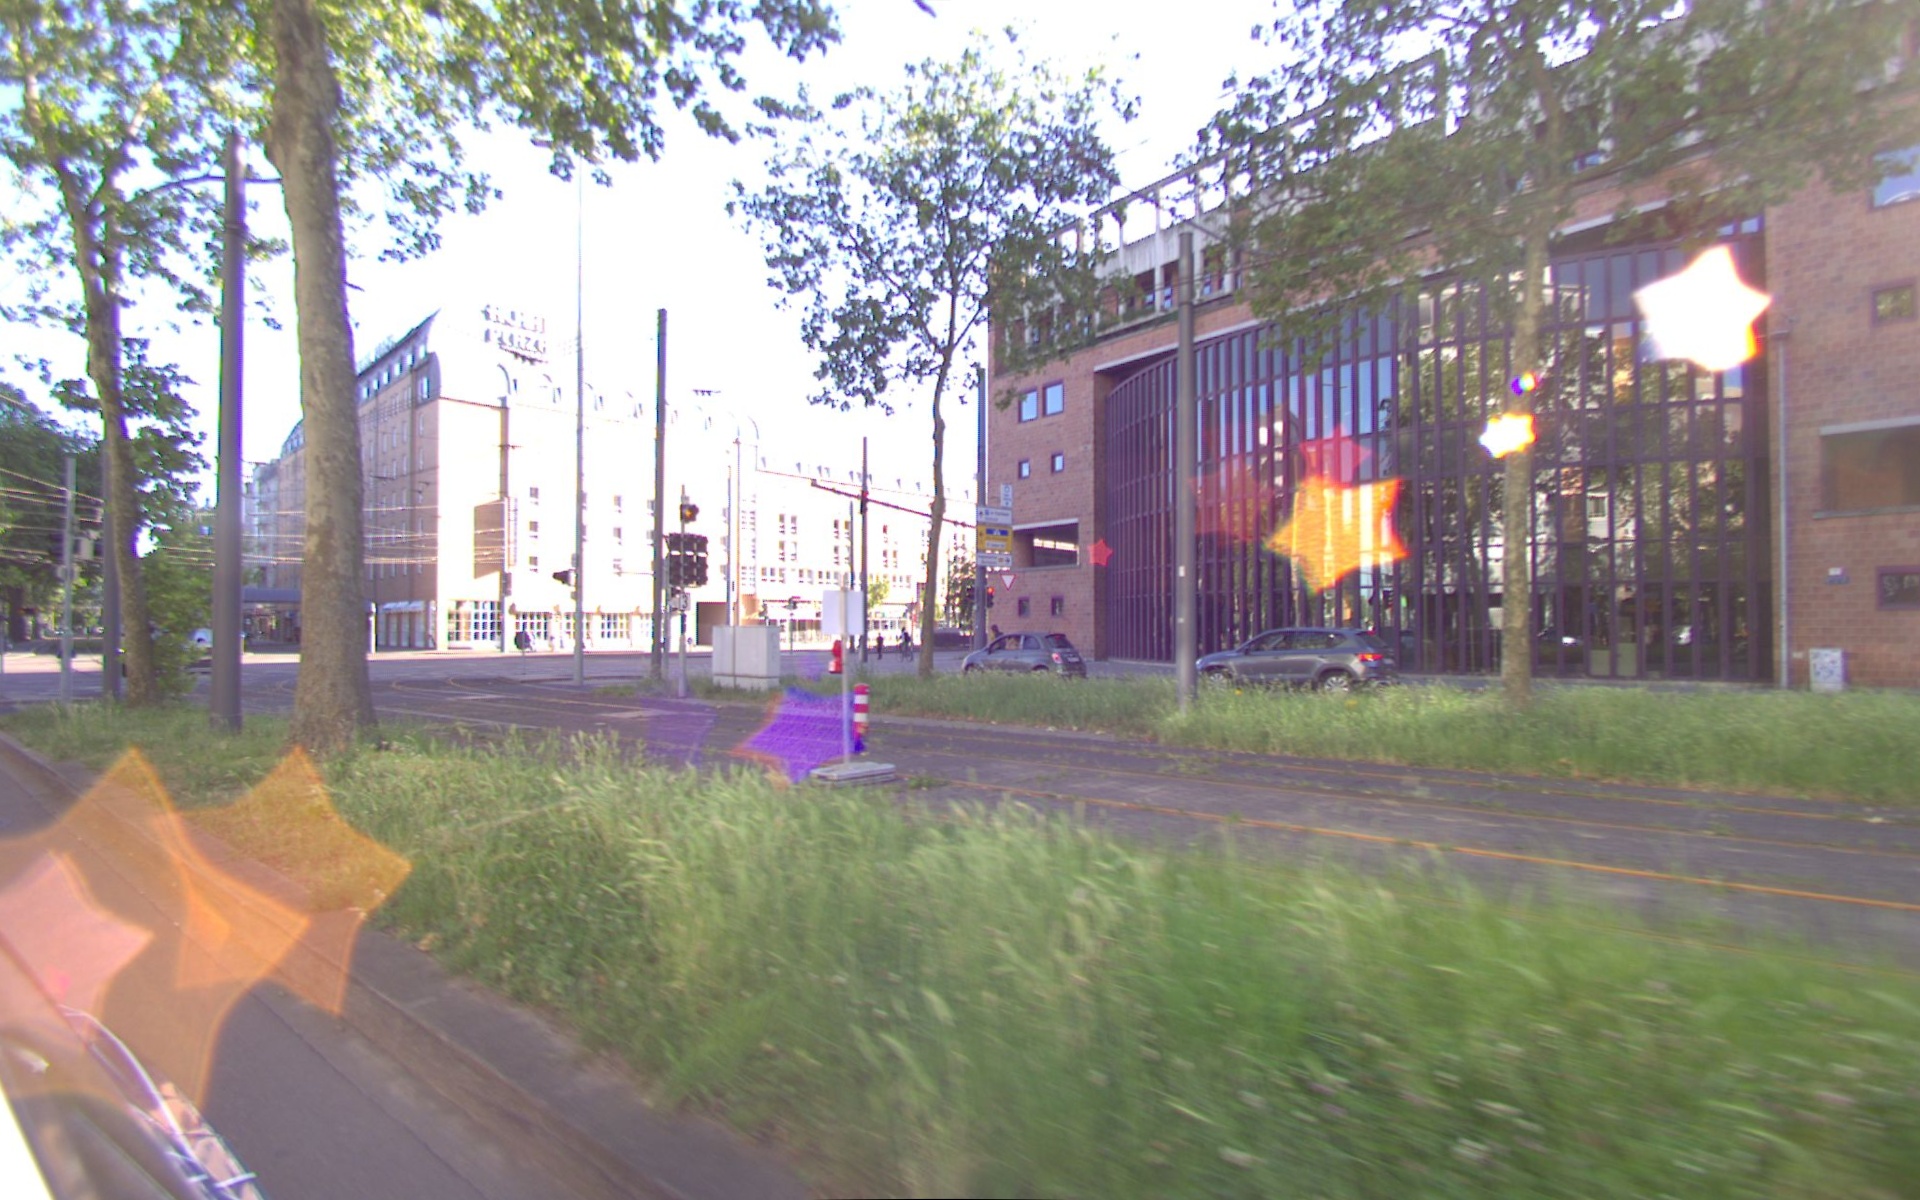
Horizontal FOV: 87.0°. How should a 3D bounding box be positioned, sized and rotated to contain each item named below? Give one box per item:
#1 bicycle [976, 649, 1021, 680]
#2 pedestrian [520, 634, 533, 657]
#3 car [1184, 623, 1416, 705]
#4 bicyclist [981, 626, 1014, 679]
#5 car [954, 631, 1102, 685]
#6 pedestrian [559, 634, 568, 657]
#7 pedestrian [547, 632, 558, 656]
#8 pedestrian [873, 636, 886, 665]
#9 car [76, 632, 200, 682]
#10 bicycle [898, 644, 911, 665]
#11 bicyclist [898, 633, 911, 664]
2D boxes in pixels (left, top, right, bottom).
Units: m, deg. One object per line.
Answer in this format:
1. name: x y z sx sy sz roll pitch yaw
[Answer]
1. bicycle: 1.167 1.974 31.297 0.528 0.920 1.573 1 -2 -36
2. pedestrian: -33.730 3.521 78.744 0.571 1.781 0.688 -2 -4 29
3. car: 7.213 1.354 21.680 4.336 1.574 1.805 -3 -3 38
4. bicyclist: 1.161 1.614 31.319 0.614 1.634 0.816 1 -2 -36
5. car: 1.765 1.535 26.879 3.617 1.338 1.634 -3 -3 38
6. pedestrian: -31.580 3.594 80.535 0.570 1.788 0.406 1 -1 -6
7. pedestrian: -32.040 3.479 79.581 0.492 1.847 0.732 1 -1 5
8. pedestrian: -4.602 2.891 57.882 0.508 1.629 0.500 -3 -3 29
9. car: -29.316 2.041 36.080 4.335 1.674 1.938 -3 -3 28
10. bicycle: -2.978 2.920 54.180 0.607 1.088 1.922 0 -2 -5
11. bicyclist: -2.988 2.592 54.180 0.676 1.602 0.928 0 -2 -3
